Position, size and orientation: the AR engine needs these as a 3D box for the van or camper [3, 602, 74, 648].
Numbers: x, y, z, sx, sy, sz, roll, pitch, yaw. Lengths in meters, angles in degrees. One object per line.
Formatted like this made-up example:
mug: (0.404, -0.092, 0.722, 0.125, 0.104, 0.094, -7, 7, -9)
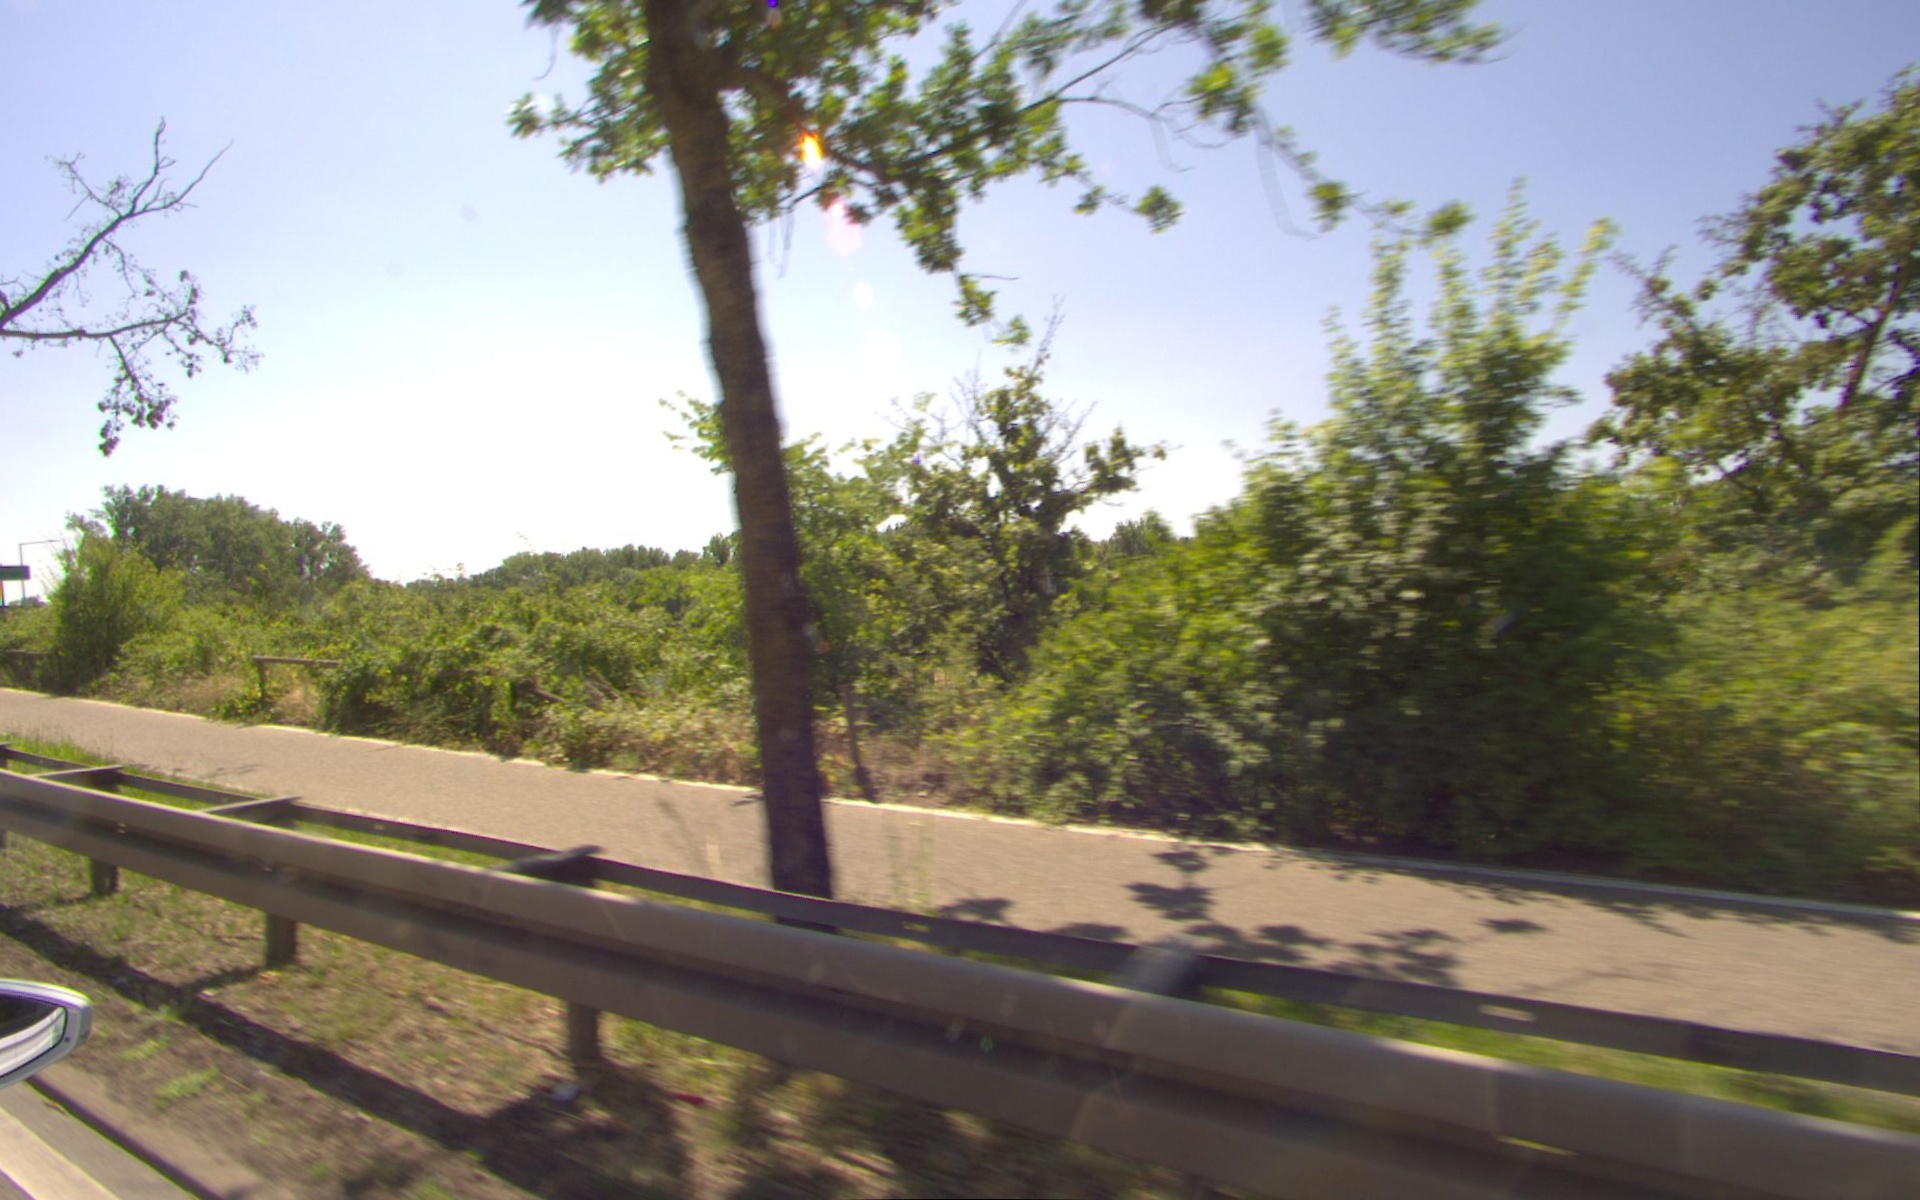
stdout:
van or camper: (-58.171, 1.573, 63.336, 2.180, 2.746, 5.892, 0, -1, -32)
